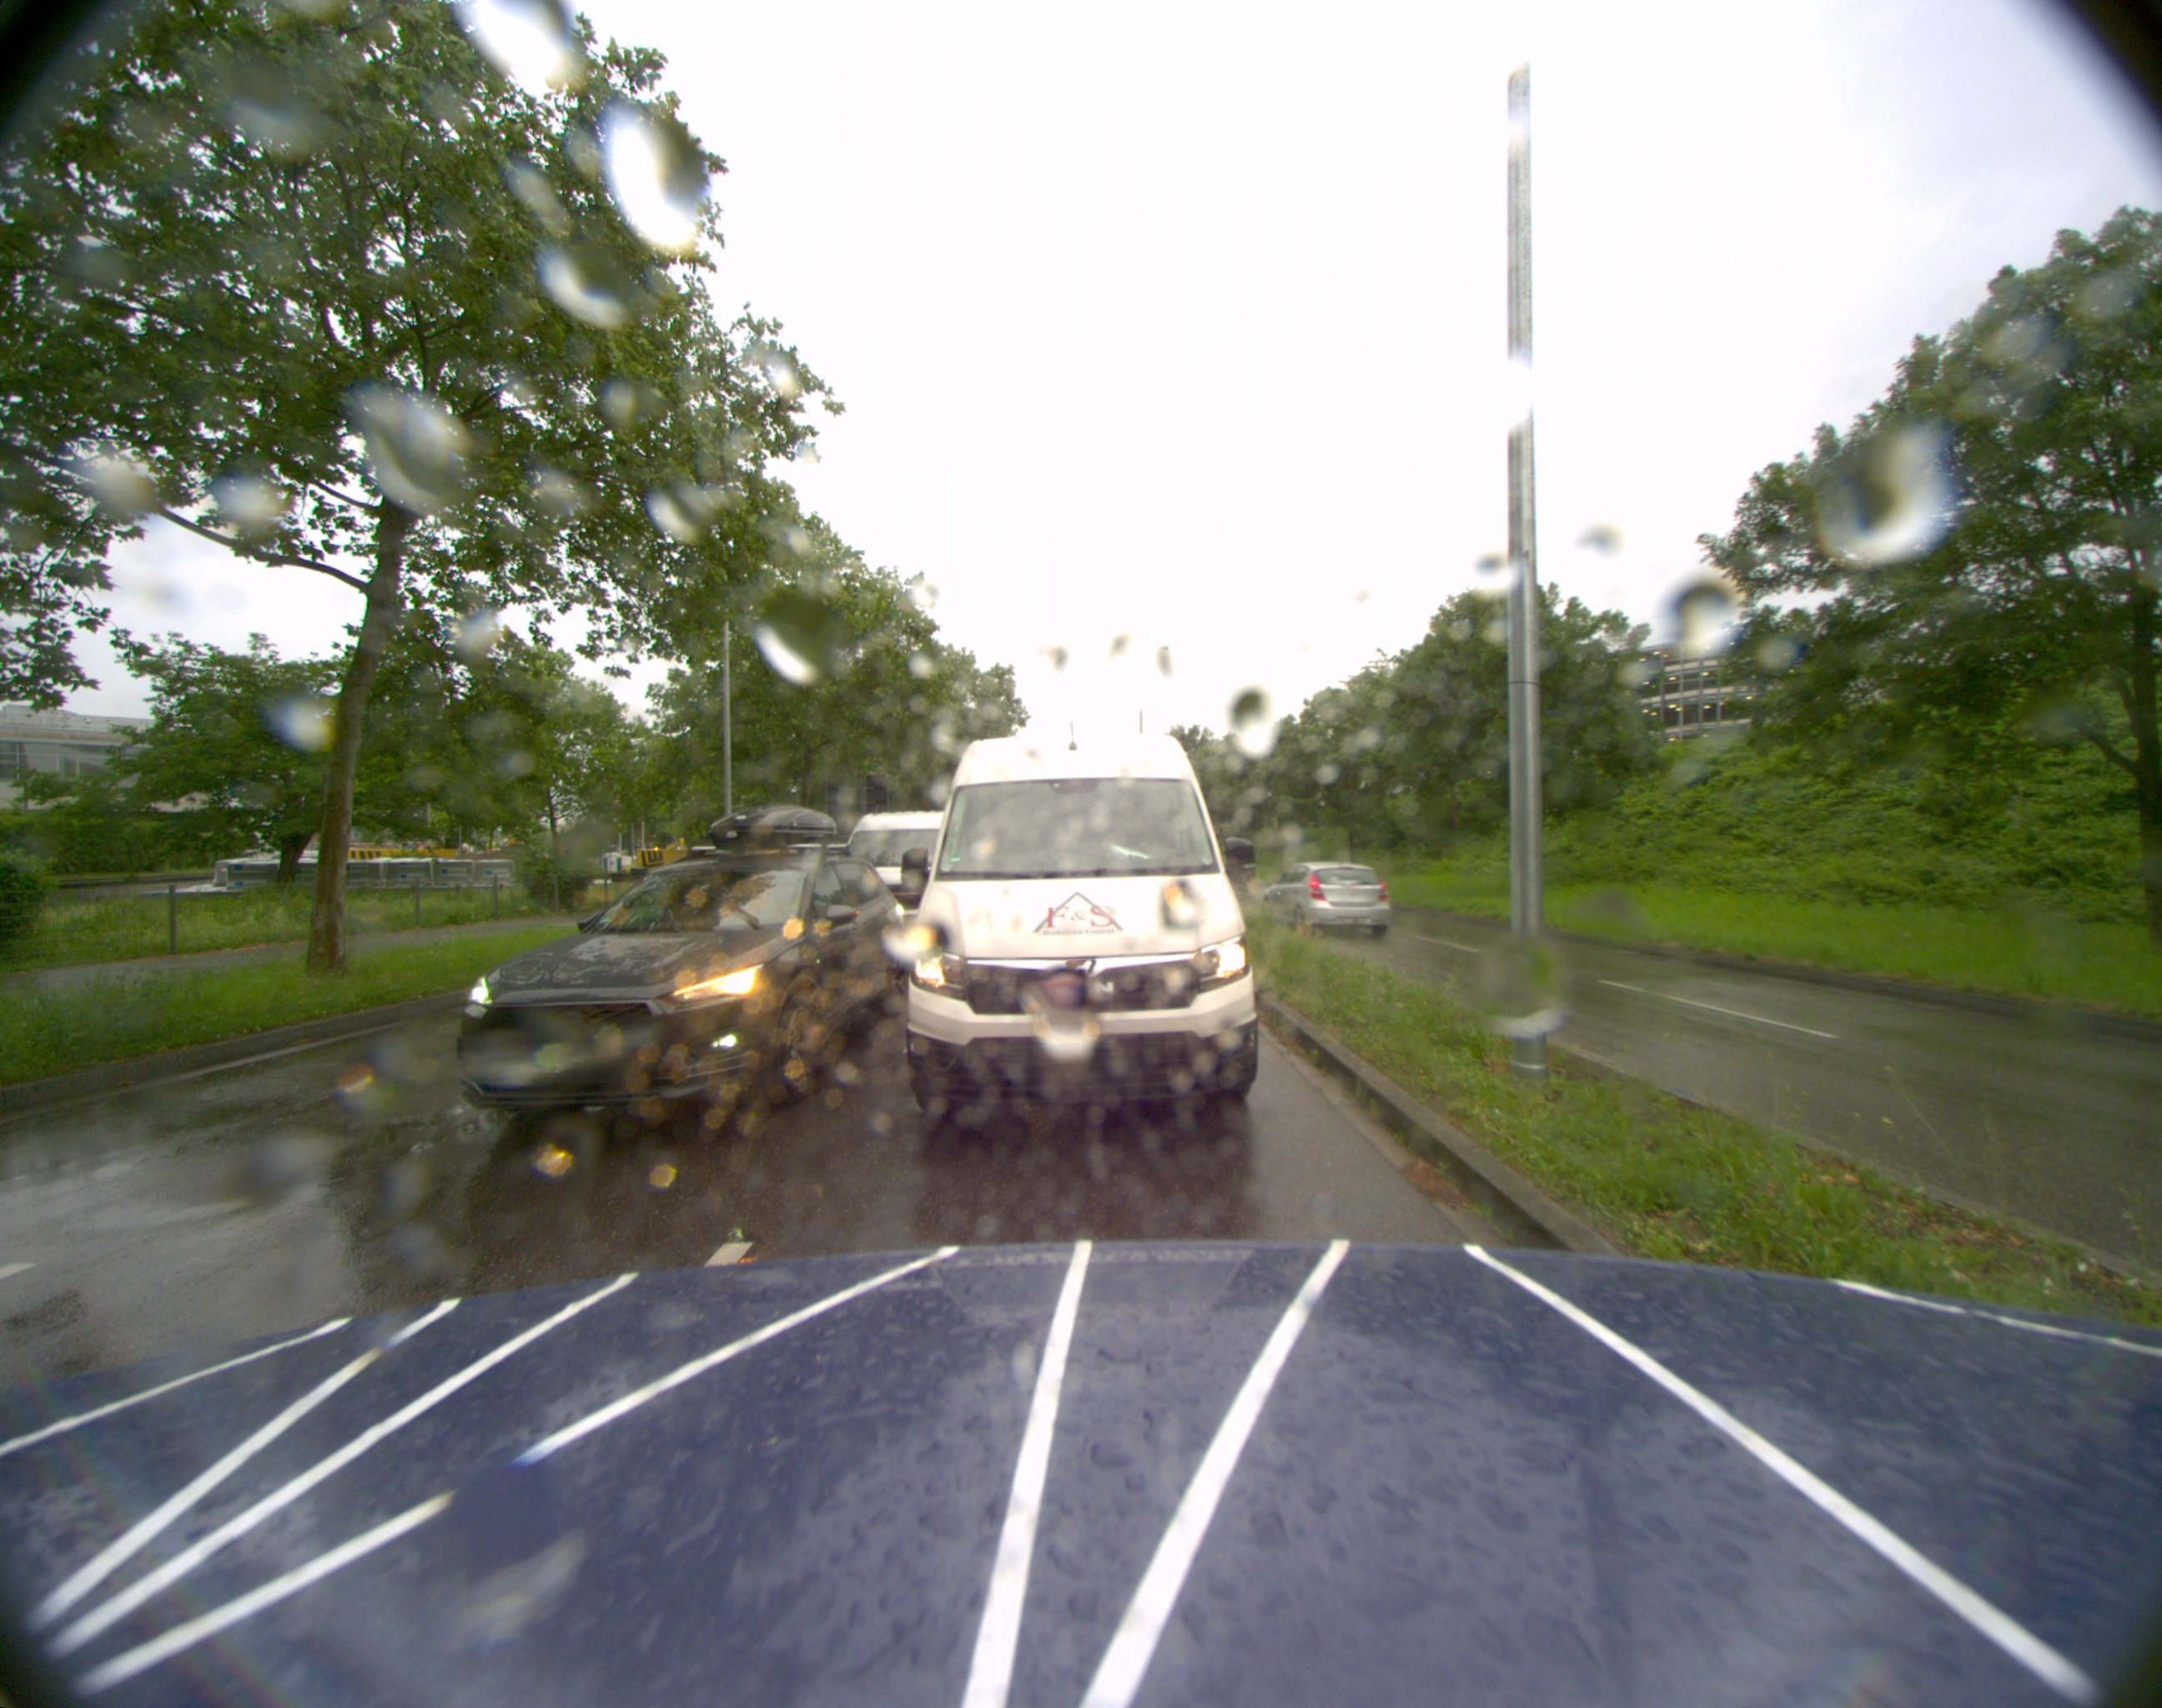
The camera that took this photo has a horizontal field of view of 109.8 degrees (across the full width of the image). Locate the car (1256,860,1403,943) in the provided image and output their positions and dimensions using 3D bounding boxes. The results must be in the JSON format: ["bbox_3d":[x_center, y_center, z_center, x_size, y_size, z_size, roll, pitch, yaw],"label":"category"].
[{"bbox_3d":[5.163,0.918,16.391,1.820,1.454,3.999,2,0,0],"label":"car"}]

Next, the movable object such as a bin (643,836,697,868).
[{"bbox_3d":[-47.716,-0.241,88.270,4.936,3.415,1.917,-2,1,-4],"label":"movable object such as a bin"}]

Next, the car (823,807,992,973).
[{"bbox_3d":[-2.886,0.526,13.916,1.894,2.432,5.317,-1,0,-1],"label":"car"}]

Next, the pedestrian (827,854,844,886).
[{"bbox_3d":[-13.409,0.879,41.492,0.646,1.707,0.656,-2,1,1],"label":"pedestrian"}]

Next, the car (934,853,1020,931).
[{"bbox_3d":[-2.794,0.955,21.332,1.807,1.902,4.546,-1,0,-1],"label":"car"}]

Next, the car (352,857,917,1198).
[{"bbox_3d":[-2.751,0.898,6.097,1.894,1.688,4.423,-1,0,0],"label":"car"}]

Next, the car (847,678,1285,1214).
[{"bbox_3d":[-0.114,0.427,6.445,2.027,2.498,5.695,-1,0,-1],"label":"car"}]
